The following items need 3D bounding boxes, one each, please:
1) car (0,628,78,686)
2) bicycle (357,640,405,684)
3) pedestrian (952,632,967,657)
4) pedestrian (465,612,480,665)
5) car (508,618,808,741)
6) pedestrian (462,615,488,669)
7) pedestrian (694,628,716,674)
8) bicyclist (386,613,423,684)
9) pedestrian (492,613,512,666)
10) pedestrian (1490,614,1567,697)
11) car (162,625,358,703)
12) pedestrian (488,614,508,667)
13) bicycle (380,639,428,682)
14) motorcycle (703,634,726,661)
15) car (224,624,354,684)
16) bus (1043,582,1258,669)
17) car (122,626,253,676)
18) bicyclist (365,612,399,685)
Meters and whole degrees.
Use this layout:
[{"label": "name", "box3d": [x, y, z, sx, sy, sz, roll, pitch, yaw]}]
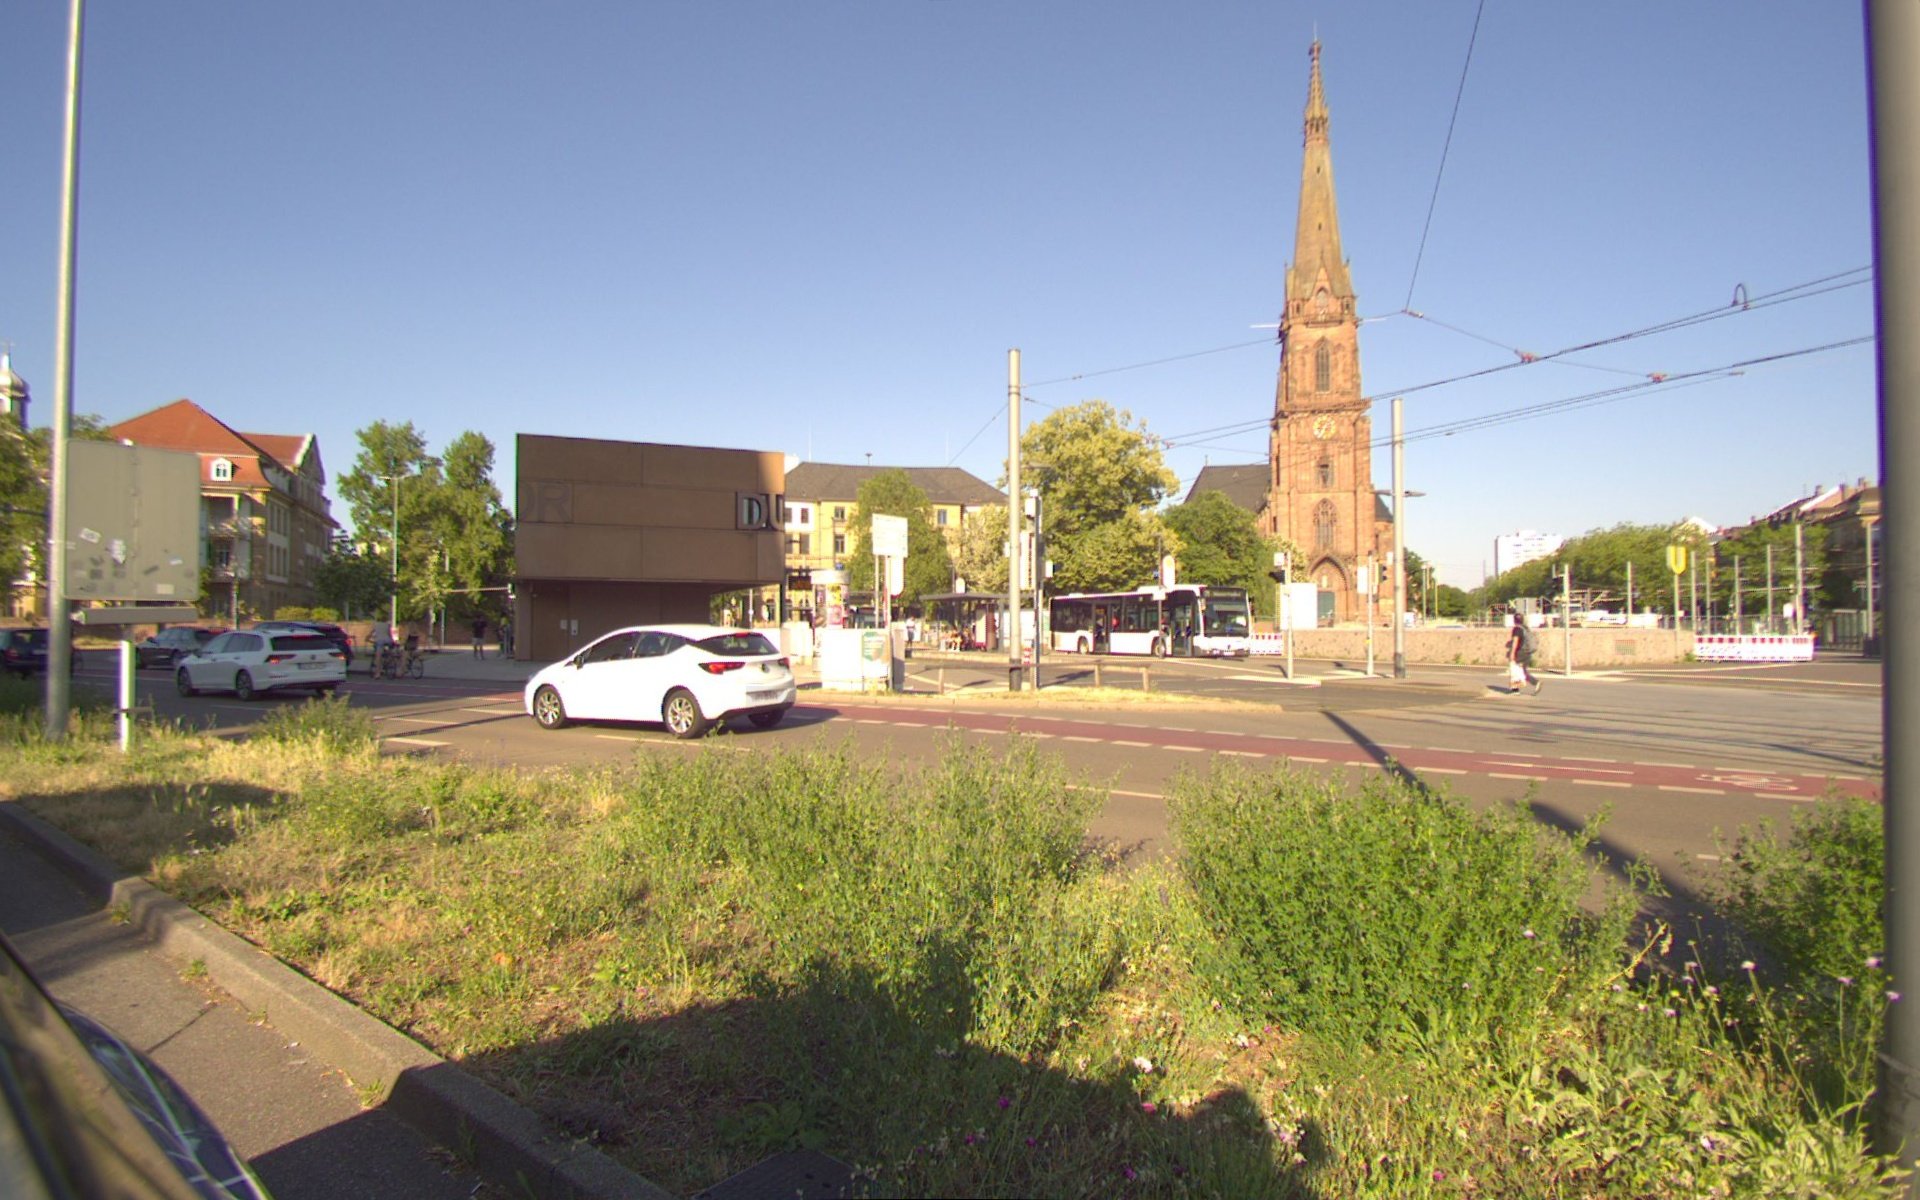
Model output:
[{"label": "car", "box3d": [-26.841, 1.559, 28.514, 4.172, 1.471, 1.739, -1, 0, 30]}, {"label": "bicycle", "box3d": [-16.418, 1.744, 28.695, 1.388, 1.201, 0.461, -1, 0, 23]}, {"label": "pedestrian", "box3d": [-0.017, 2.192, 49.935, 0.531, 1.196, 0.660, -1, 0, -21]}, {"label": "pedestrian", "box3d": [-19.000, 1.497, 39.448, 0.460, 2.029, 0.658, -1, 0, -33]}, {"label": "car", "box3d": [-4.304, 1.005, 14.231, 4.175, 1.471, 1.737, -1, 0, 32]}, {"label": "pedestrian", "box3d": [-18.482, 1.585, 38.563, 0.765, 2.029, 0.775, -1, 0, -37]}, {"label": "pedestrian", "box3d": [-11.409, 2.269, 45.264, 0.762, 2.029, 0.778, -1, 0, -2]}, {"label": "bicyclist", "box3d": [-16.034, 1.390, 29.213, 0.705, 2.029, 0.605, -1, -2, 25]}, {"label": "pedestrian", "box3d": [-17.693, 1.522, 39.087, 0.645, 2.029, 0.470, -1, 0, -29]}, {"label": "pedestrian", "box3d": [12.145, 1.152, 21.619, 1.025, 1.696, 1.007, -1, 0, -25]}, {"label": "car", "box3d": [-15.166, 1.310, 21.885, 4.375, 1.503, 1.831, -1, 0, 30]}, {"label": "pedestrian", "box3d": [-18.071, 1.579, 39.603, 0.645, 2.029, 0.470, -1, 0, -29]}, {"label": "bicycle", "box3d": [-16.072, 1.739, 29.235, 1.388, 1.201, 0.461, -1, 0, 23]}, {"label": "motorcycle", "box3d": [-10.191, 1.957, 42.036, 0.935, 1.075, 0.331, -1, 0, -11]}, {"label": "car", "box3d": [-20.294, 1.585, 30.581, 4.175, 1.703, 1.737, -1, -2, 32]}, {"label": "bus", "box3d": [7.606, 0.967, 43.378, 2.655, 3.174, 12.216, -1, 0, -23]}, {"label": "car", "box3d": [-25.262, 1.648, 33.066, 4.375, 1.503, 1.831, -1, -4, 30]}, {"label": "bicyclist", "box3d": [-16.341, 1.366, 28.607, 0.562, 2.029, 0.605, -1, -2, 25]}]
